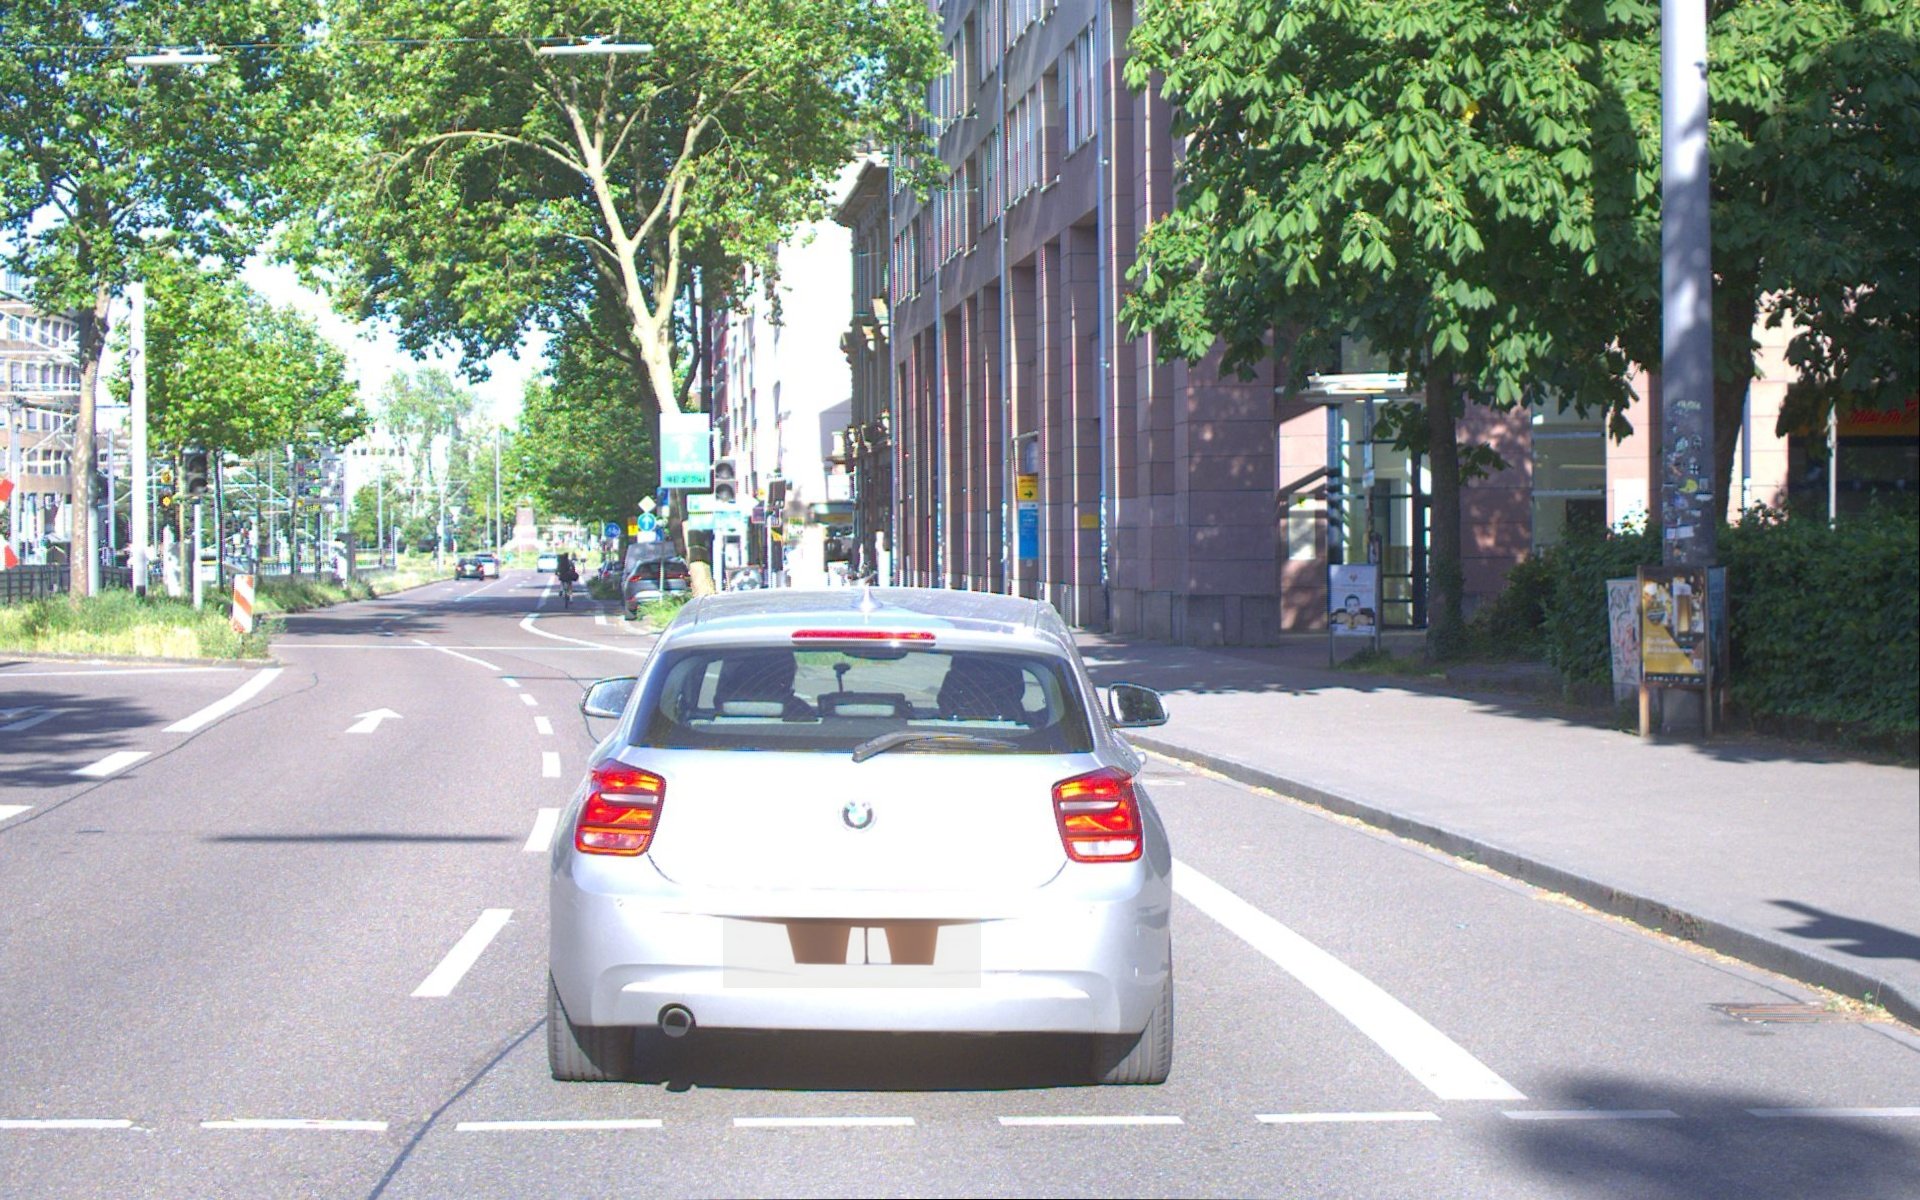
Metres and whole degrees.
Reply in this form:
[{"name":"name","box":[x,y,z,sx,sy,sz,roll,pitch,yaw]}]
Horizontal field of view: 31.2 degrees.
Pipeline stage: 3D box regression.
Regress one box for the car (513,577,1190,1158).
[{"name":"car","box":[-0.241,0.682,10.861,1.730,1.386,3.840,2,2,1]}]

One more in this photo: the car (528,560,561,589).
[{"name":"car","box":[-30.430,-1.831,251.822,1.993,2.007,4.000,2,0,-1]}]

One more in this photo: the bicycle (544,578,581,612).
[{"name":"bicycle","box":[-12.307,-0.158,106.528,0.831,1.038,1.874,-1,1,3]}]

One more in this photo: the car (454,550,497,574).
[{"name":"car","box":[-29.707,-2.318,210.937,1.993,1.481,4.000,0,1,1]}]

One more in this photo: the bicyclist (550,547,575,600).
[{"name":"bicyclist","box":[-12.310,-0.822,106.477,0.658,1.652,0.765,-1,1,3]}]
